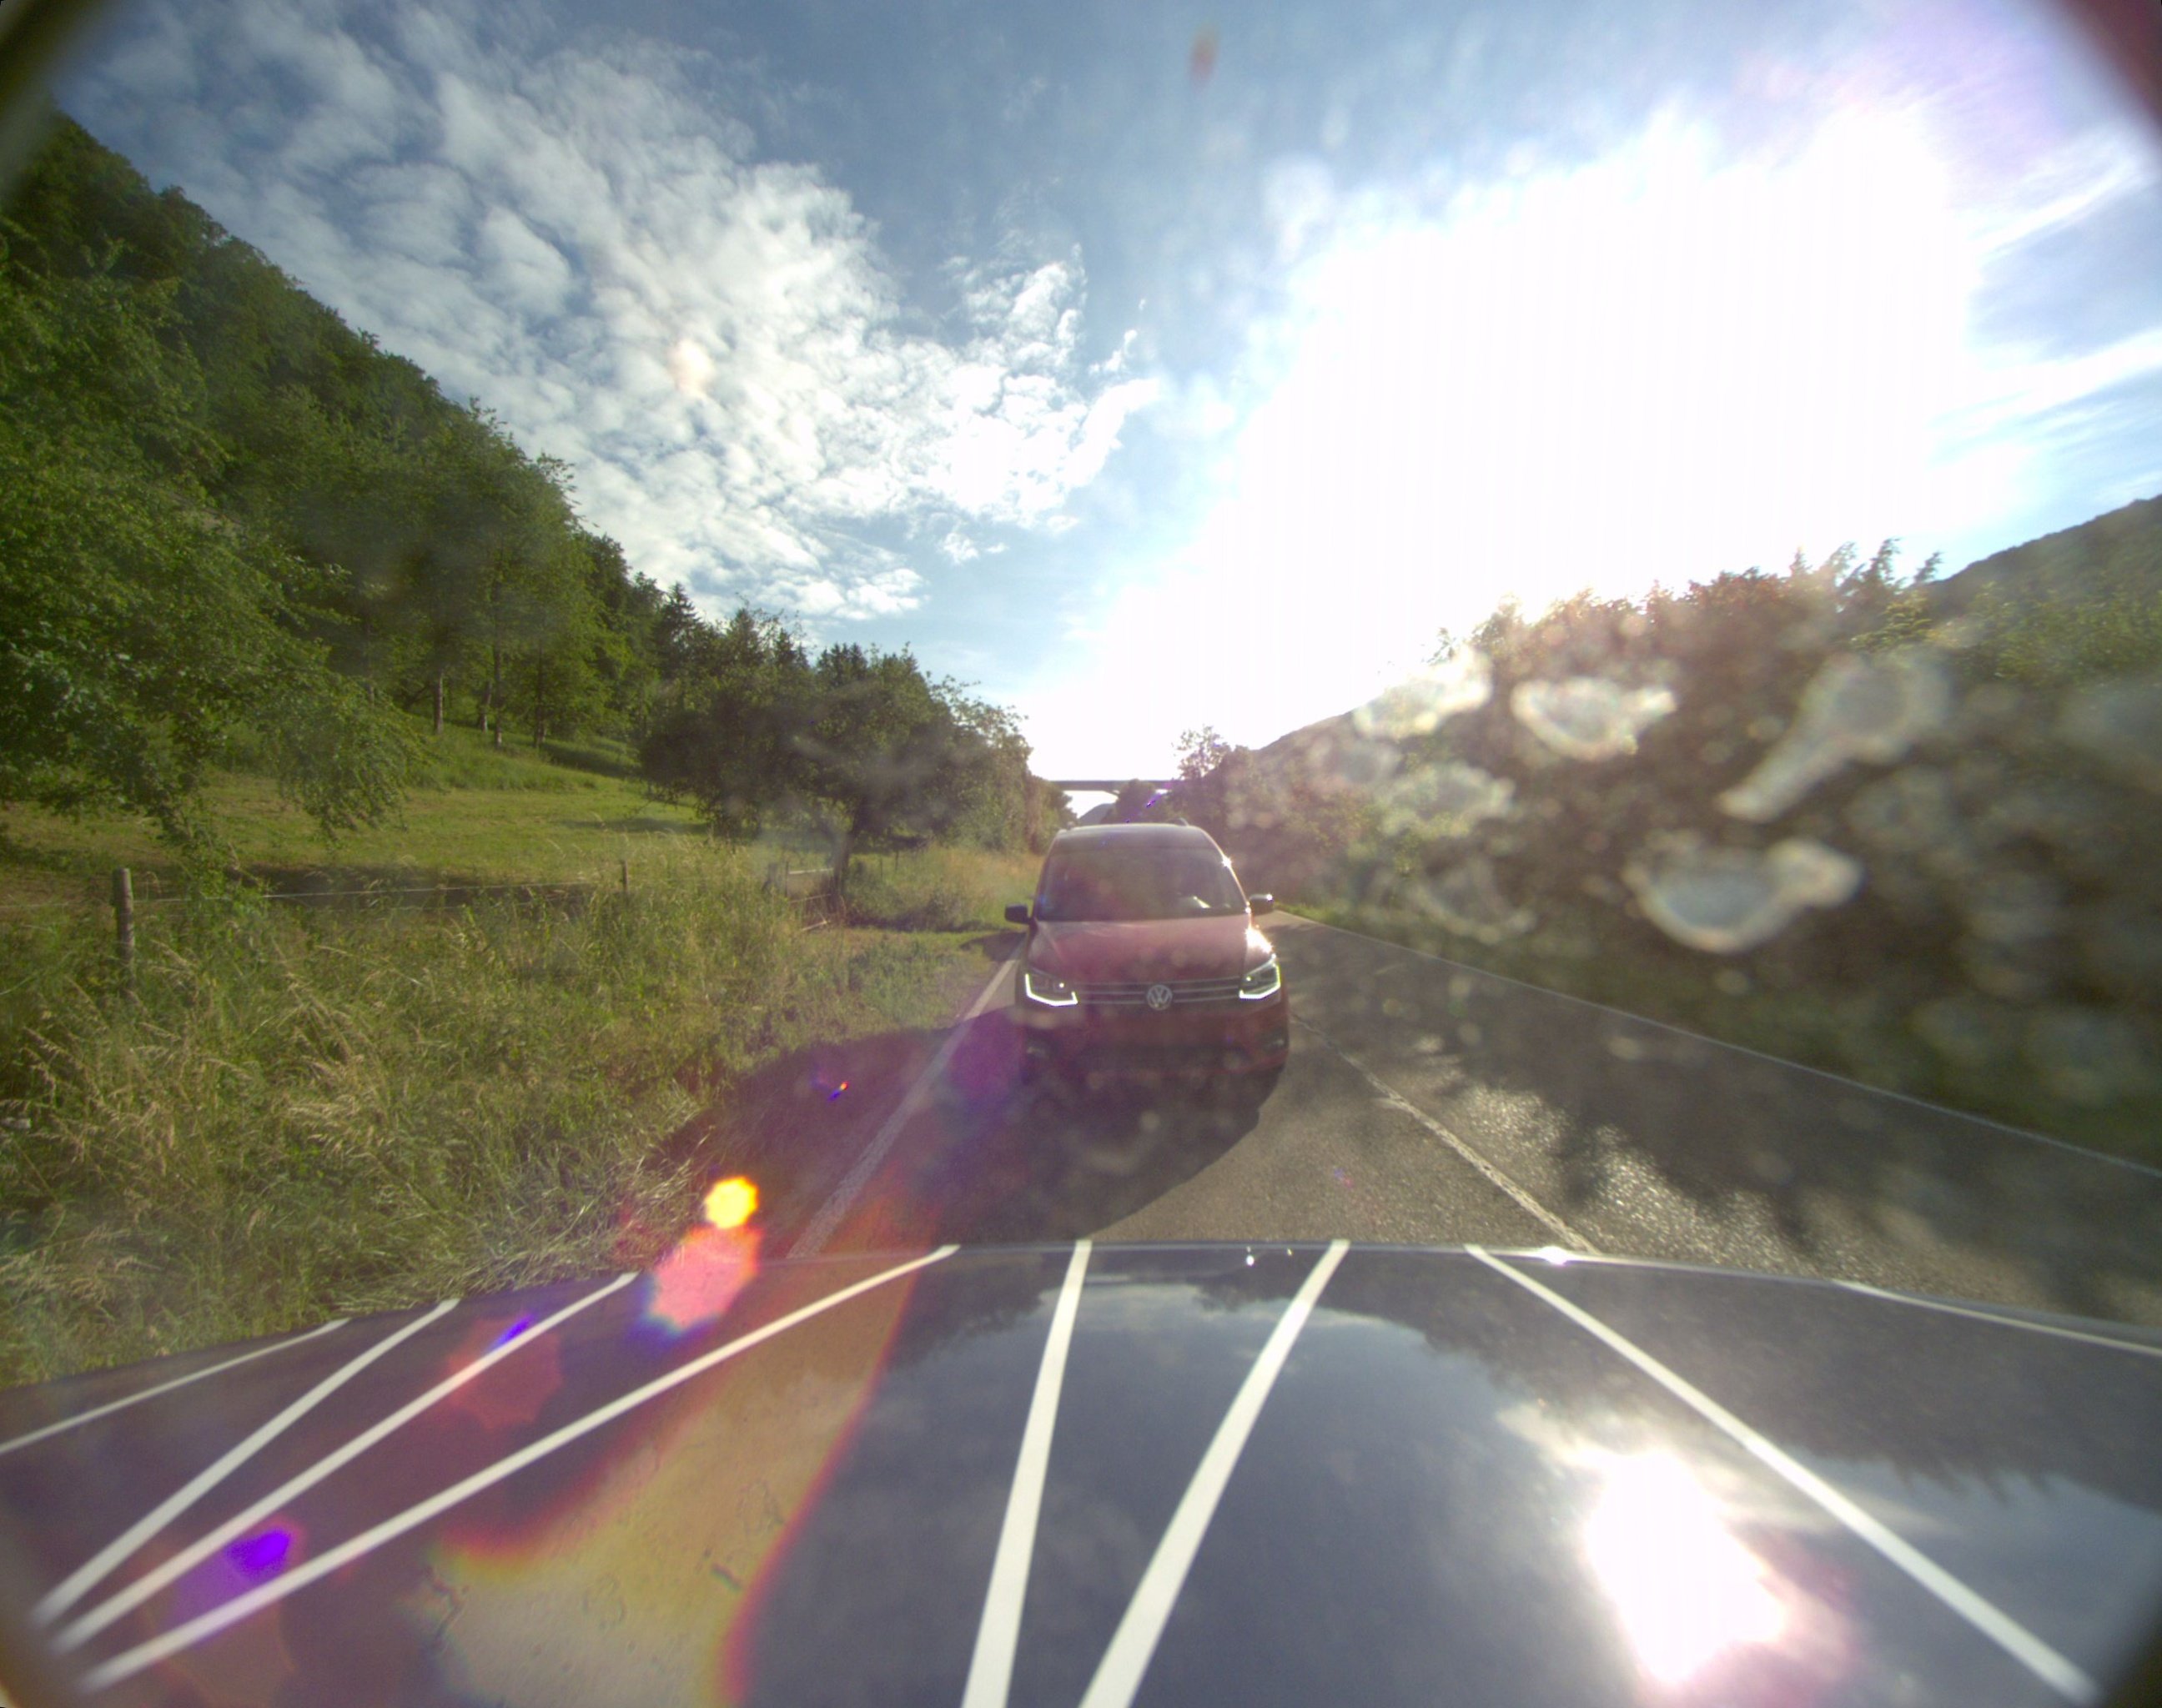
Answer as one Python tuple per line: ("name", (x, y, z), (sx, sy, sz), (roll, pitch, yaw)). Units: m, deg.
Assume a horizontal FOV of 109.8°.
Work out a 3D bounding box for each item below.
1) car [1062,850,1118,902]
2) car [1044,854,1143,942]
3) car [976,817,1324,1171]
("car", (0.331, 0.719, 27.447), (1.753, 1.608, 4.288), (-3, 1, 1))
("car", (0.267, 0.818, 16.368), (1.753, 1.513, 4.288), (-3, 1, 1))
("car", (0.406, 0.730, 6.195), (1.753, 1.799, 4.288), (-3, 1, 1))
